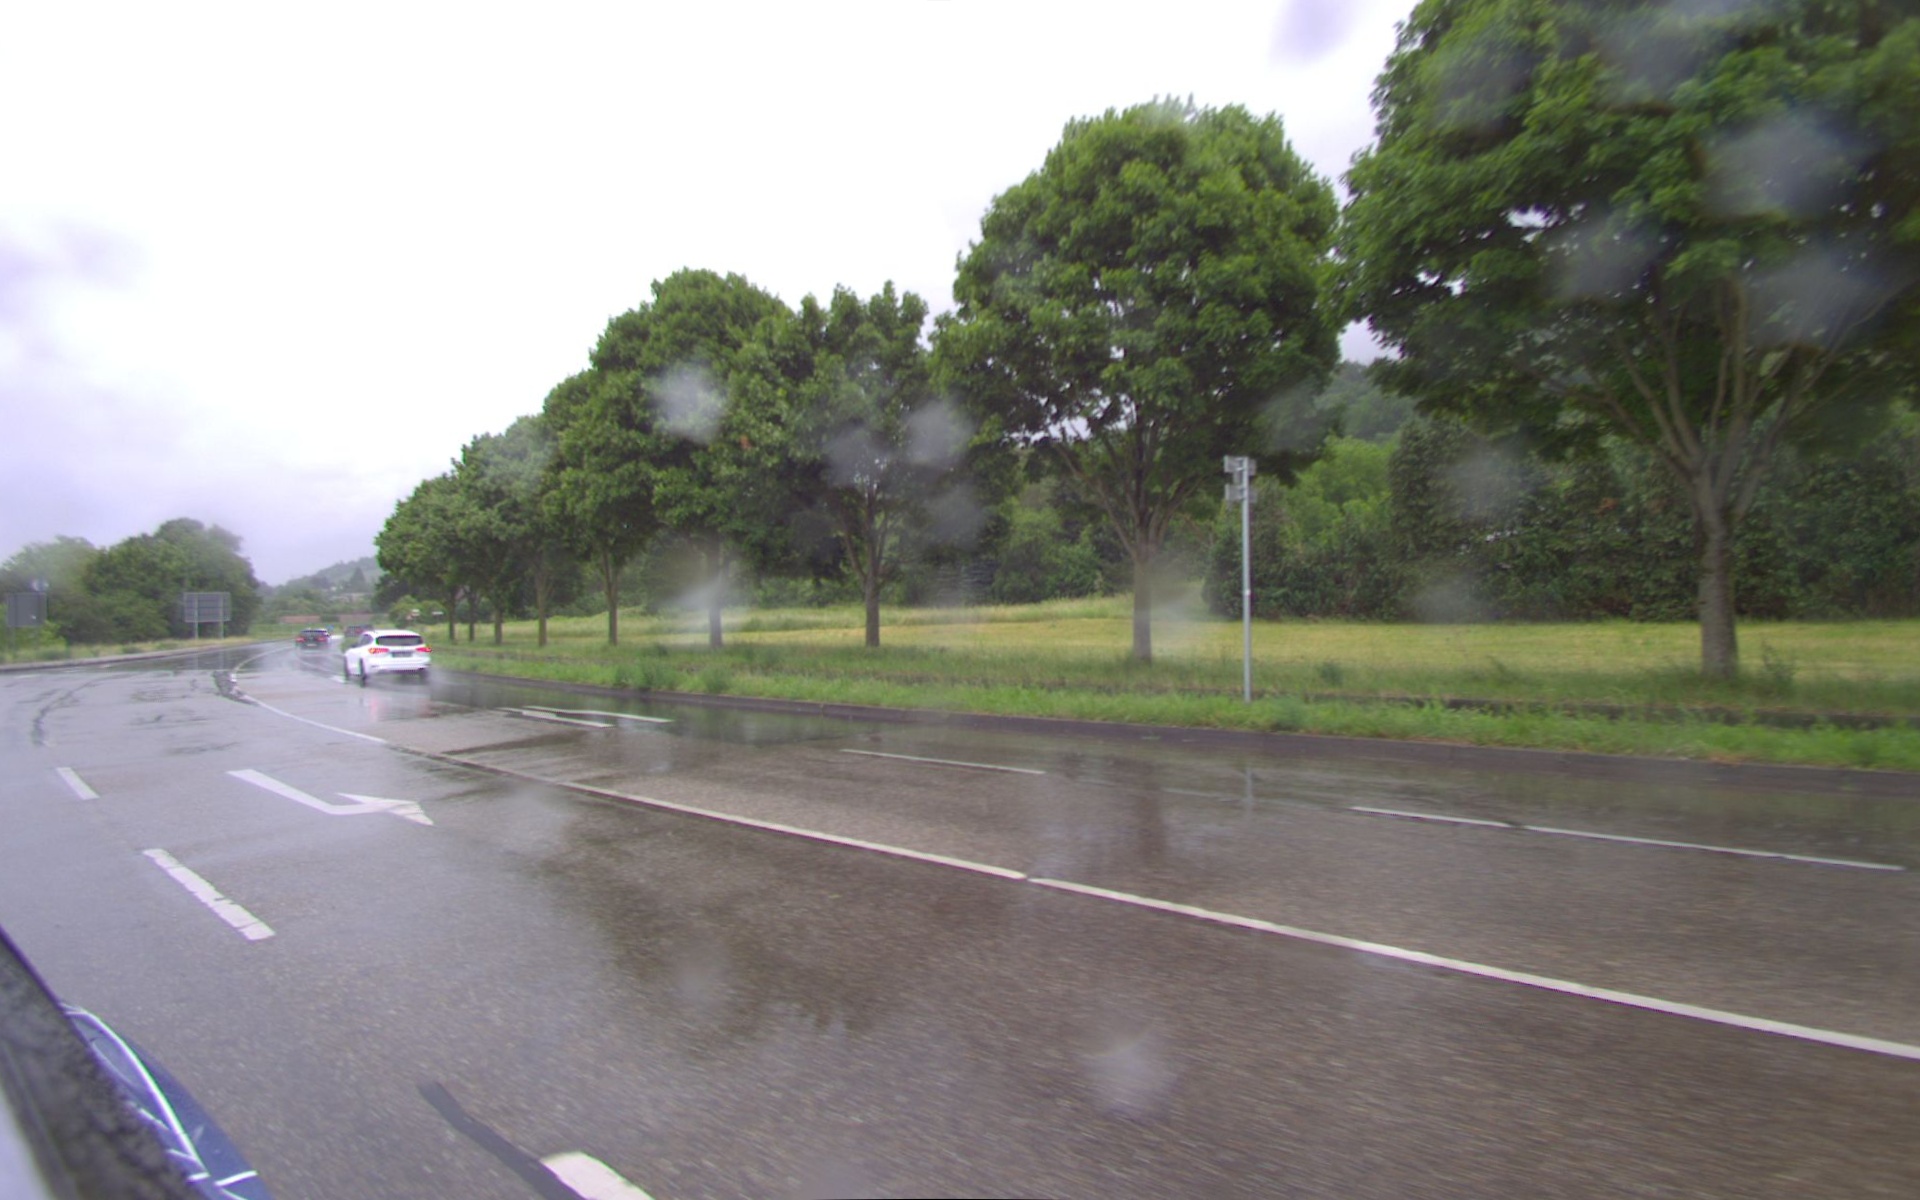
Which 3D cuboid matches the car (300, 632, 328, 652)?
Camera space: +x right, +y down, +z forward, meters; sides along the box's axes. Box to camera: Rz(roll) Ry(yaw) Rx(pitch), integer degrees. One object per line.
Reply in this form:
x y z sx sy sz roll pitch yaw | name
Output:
-50.453 3.250 79.097 1.715 1.498 4.022 1 -2 -31 | car

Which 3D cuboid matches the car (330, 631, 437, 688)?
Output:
-17.555 1.732 30.708 1.856 1.585 4.650 1 -2 -42 | car

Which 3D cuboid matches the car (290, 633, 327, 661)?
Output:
-41.928 3.002 65.111 1.859 1.599 4.130 -3 1 -33 | car

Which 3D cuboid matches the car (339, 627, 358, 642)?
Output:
-74.520 4.227 123.347 1.898 1.756 4.300 1 -2 -33 | car
